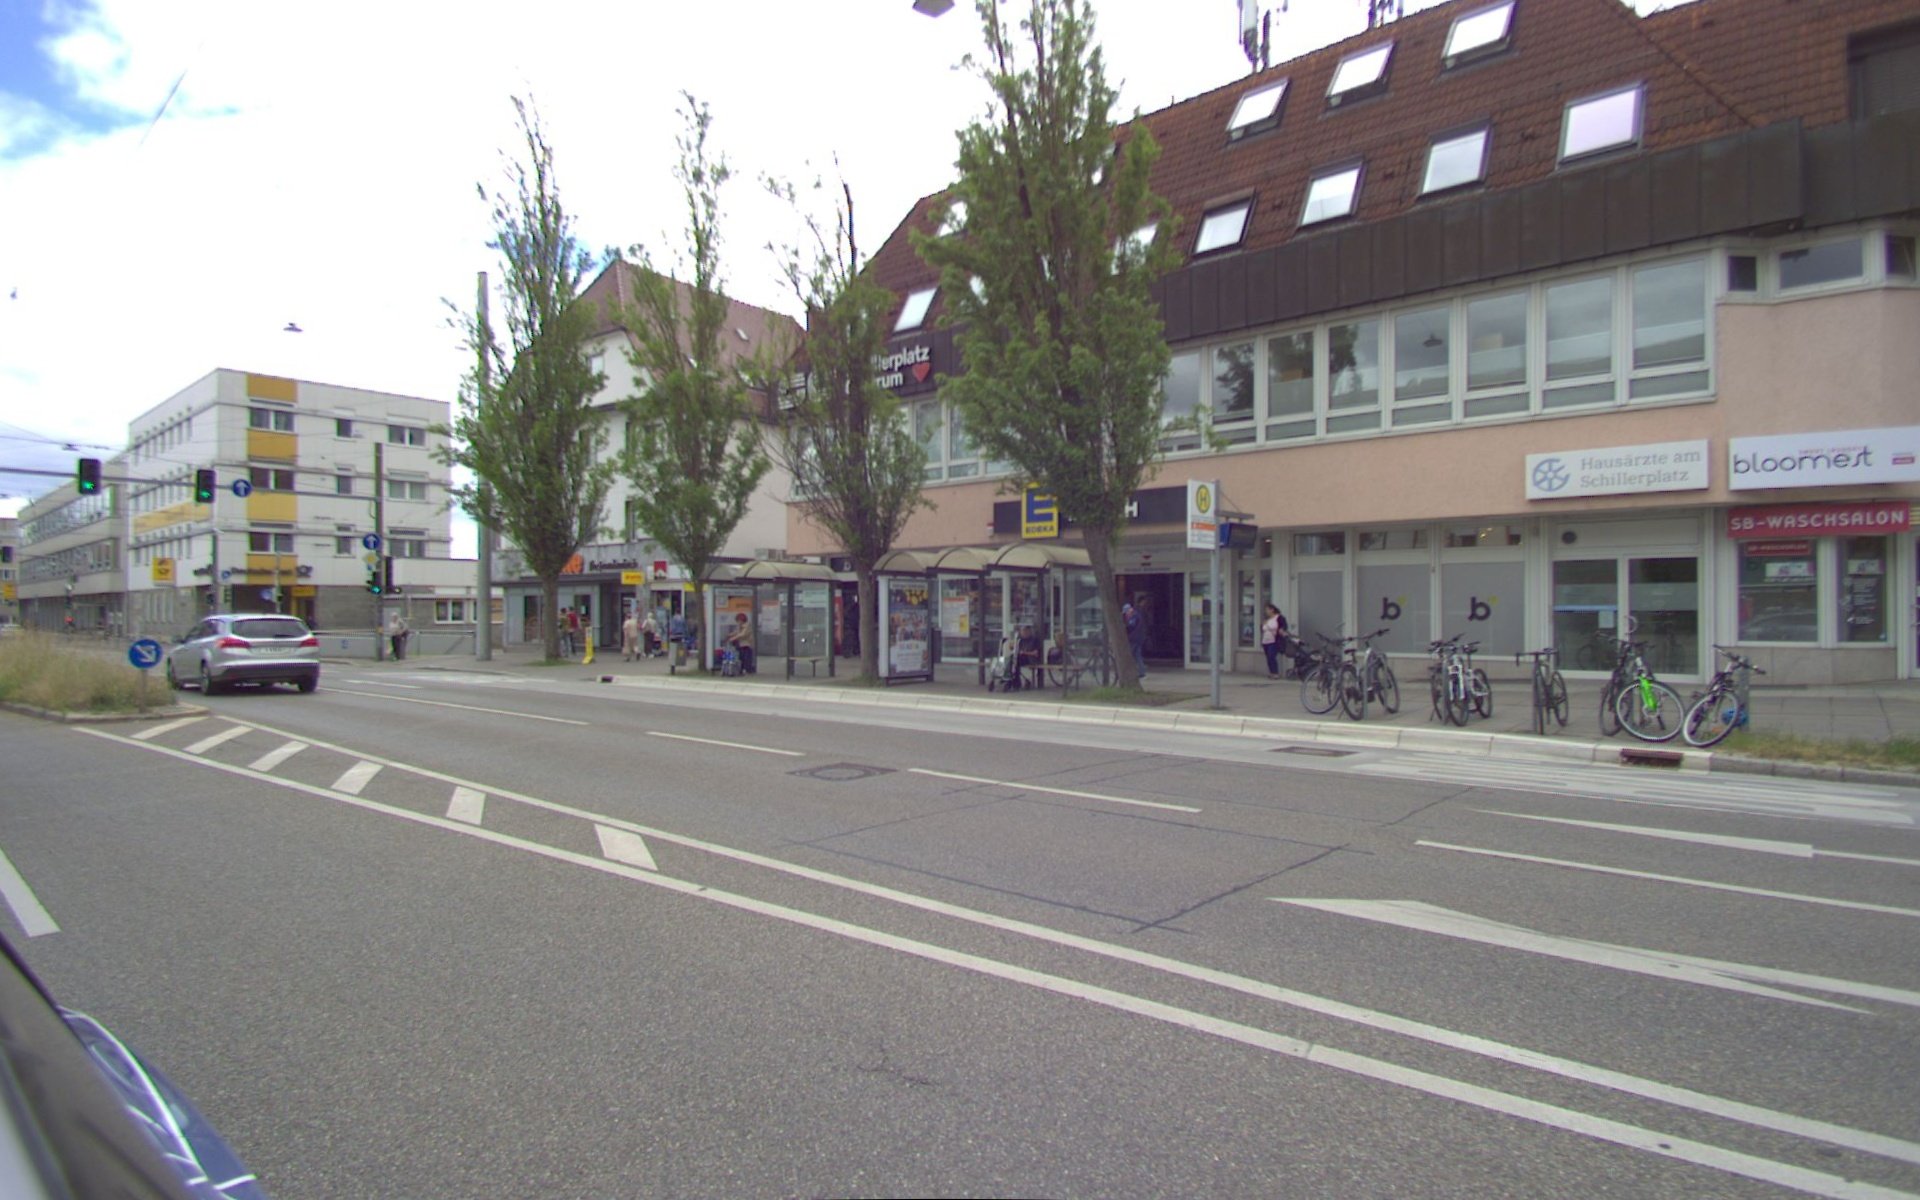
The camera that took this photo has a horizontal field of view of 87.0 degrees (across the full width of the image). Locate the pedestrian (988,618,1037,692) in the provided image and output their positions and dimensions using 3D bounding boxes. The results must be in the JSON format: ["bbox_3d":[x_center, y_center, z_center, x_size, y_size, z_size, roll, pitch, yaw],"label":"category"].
[{"bbox_3d":[1.011,1.048,19.434,0.588,1.374,0.704,-3,-1,43],"label":"pedestrian"}]

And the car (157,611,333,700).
[{"bbox_3d":[-13.850,0.996,19.514,4.343,1.517,1.854,-1,-2,42],"label":"car"}]

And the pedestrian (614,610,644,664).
[{"bbox_3d":[-10.436,1.172,31.894,0.614,1.646,0.580,-2,1,39],"label":"pedestrian"}]

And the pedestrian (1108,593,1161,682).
[{"bbox_3d":[3.628,0.765,21.013,0.754,1.777,0.718,-2,1,39],"label":"pedestrian"}]

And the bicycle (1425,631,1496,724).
[{"bbox_3d":[6.697,0.988,13.490,0.647,1.098,2.002,-1,-1,31],"label":"bicycle"}]

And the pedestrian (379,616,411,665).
[{"bbox_3d":[-19.922,1.425,35.709,0.612,1.646,0.695,-2,1,30],"label":"pedestrian"}]

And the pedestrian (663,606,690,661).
[{"bbox_3d":[-9.070,1.059,32.352,0.614,1.725,0.580,-1,-1,39],"label":"pedestrian"}]

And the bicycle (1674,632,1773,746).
[{"bbox_3d":[8.361,0.924,11.151,0.647,1.098,2.002,-1,-1,31],"label":"bicycle"}]

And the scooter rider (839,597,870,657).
[{"bbox_3d":[-3.146,0.802,30.283,0.587,1.725,0.607,-2,1,38],"label":"scooter rider"}]

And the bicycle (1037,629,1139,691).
[{"bbox_3d":[2.422,1.116,19.271,1.929,1.098,0.528,-1,-1,40],"label":"bicycle"}]

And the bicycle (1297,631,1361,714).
[{"bbox_3d":[5.577,1.044,15.220,0.646,1.098,2.006,-1,0,27],"label":"bicycle"}]

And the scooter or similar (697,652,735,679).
[{"bbox_3d":[-5.839,1.560,24.259,0.702,0.606,0.586,-2,-1,41],"label":"scooter or similar"}]

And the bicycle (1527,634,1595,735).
[{"bbox_3d":[7.423,0.993,12.485,0.647,1.098,2.002,-1,-1,31],"label":"bicycle"}]

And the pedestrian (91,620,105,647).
[{"bbox_3d":[-60.010,2.309,70.451,0.526,1.816,0.580,-2,1,41],"label":"pedestrian"}]

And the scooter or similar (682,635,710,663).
[{"bbox_3d":[-8.409,1.544,32.231,0.702,0.855,0.586,-2,-1,41],"label":"scooter or similar"}]

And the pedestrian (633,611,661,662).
[{"bbox_3d":[-10.537,1.227,34.028,0.614,1.646,0.580,-2,1,39],"label":"pedestrian"}]

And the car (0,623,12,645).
[{"bbox_3d":[-91.185,3.263,95.445,4.482,2.029,1.974,-2,-1,39],"label":"car"}]

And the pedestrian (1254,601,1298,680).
[{"bbox_3d":[6.434,0.821,20.588,0.587,1.559,0.704,-3,-1,40],"label":"pedestrian"}]

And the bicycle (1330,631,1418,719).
[{"bbox_3d":[5.752,0.996,14.010,0.648,1.098,1.999,-1,-1,36],"label":"bicycle"}]

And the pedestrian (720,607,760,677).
[{"bbox_3d":[-5.351,1.015,24.645,0.709,1.665,0.583,-2,-1,23],"label":"pedestrian"}]

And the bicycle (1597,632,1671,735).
[{"bbox_3d":[8.059,0.949,12.160,0.647,1.098,2.002,-1,-1,31],"label":"bicycle"}]

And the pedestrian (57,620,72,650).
[{"bbox_3d":[-56.796,2.225,64.208,0.526,1.816,0.580,-2,1,41],"label":"pedestrian"}]

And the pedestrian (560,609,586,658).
[{"bbox_3d":[-13.892,1.197,36.332,0.614,1.725,0.580,-2,1,39],"label":"pedestrian"}]

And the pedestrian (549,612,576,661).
[{"bbox_3d":[-13.731,1.264,34.963,0.614,1.646,0.580,-2,1,39],"label":"pedestrian"}]

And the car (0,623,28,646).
[{"bbox_3d":[-86.220,3.140,91.732,4.482,2.029,1.974,-2,-1,39],"label":"car"}]
